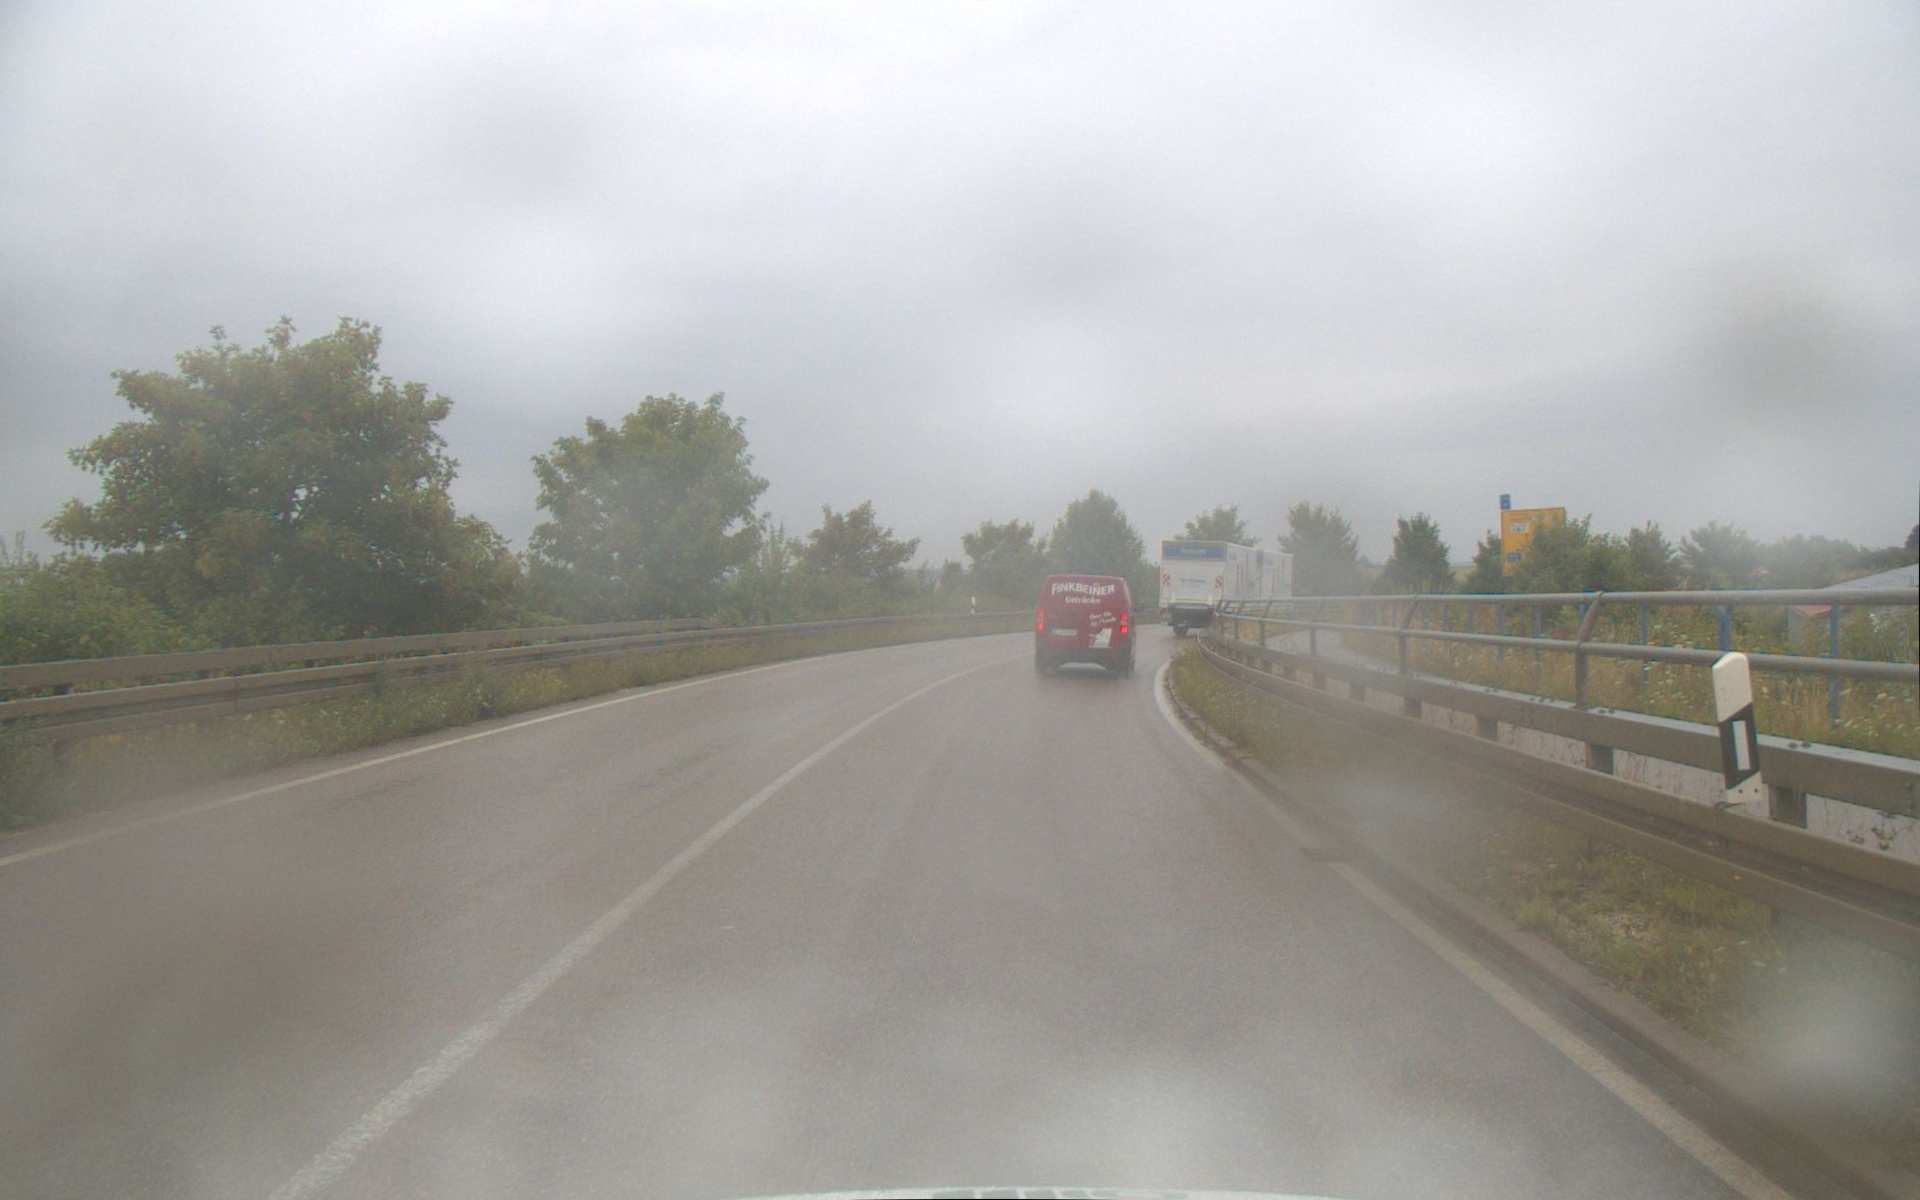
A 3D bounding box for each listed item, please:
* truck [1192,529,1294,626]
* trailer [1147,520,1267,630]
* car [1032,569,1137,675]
[{"bbox_3d":[12.787,-0.983,74.075,3.135,3.990,8.743,2,1,19],"label":"truck"},{"bbox_3d":[9.968,-0.946,65.767,3.135,3.990,8.743,2,1,19],"label":"trailer"},{"bbox_3d":[2.521,0.369,32.788,1.951,1.959,4.146,0,1,6],"label":"car"}]
